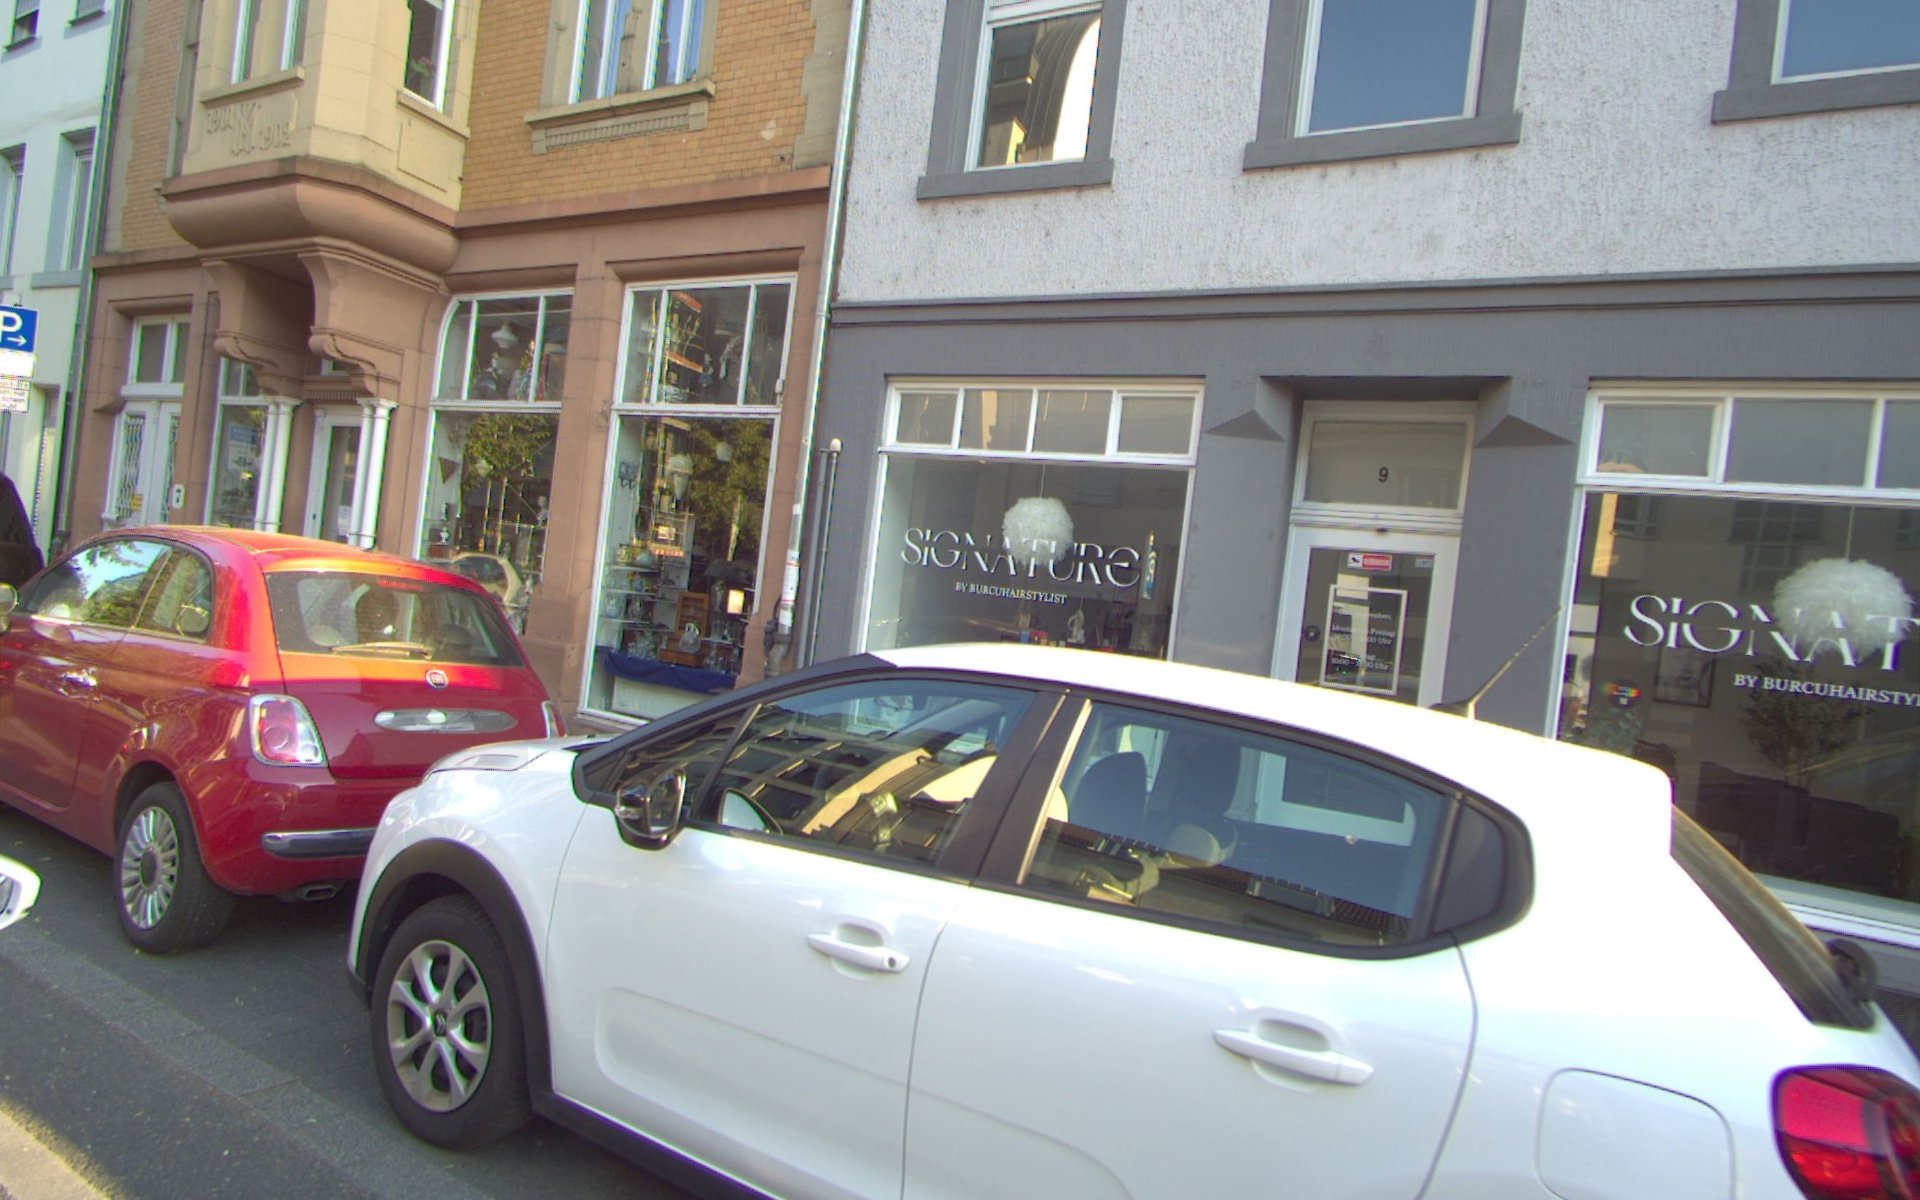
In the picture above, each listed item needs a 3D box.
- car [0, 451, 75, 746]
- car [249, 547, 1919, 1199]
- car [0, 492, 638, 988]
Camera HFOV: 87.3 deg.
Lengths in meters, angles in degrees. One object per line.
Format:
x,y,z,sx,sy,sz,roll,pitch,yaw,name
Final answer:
-7.787,-0.271,6.181,4.290,1.714,1.831,6,-2,25,car
0.063,0.793,2.731,3.737,1.394,1.671,6,-2,29,car
-3.323,0.414,4.692,3.211,1.501,1.591,6,-2,30,car
